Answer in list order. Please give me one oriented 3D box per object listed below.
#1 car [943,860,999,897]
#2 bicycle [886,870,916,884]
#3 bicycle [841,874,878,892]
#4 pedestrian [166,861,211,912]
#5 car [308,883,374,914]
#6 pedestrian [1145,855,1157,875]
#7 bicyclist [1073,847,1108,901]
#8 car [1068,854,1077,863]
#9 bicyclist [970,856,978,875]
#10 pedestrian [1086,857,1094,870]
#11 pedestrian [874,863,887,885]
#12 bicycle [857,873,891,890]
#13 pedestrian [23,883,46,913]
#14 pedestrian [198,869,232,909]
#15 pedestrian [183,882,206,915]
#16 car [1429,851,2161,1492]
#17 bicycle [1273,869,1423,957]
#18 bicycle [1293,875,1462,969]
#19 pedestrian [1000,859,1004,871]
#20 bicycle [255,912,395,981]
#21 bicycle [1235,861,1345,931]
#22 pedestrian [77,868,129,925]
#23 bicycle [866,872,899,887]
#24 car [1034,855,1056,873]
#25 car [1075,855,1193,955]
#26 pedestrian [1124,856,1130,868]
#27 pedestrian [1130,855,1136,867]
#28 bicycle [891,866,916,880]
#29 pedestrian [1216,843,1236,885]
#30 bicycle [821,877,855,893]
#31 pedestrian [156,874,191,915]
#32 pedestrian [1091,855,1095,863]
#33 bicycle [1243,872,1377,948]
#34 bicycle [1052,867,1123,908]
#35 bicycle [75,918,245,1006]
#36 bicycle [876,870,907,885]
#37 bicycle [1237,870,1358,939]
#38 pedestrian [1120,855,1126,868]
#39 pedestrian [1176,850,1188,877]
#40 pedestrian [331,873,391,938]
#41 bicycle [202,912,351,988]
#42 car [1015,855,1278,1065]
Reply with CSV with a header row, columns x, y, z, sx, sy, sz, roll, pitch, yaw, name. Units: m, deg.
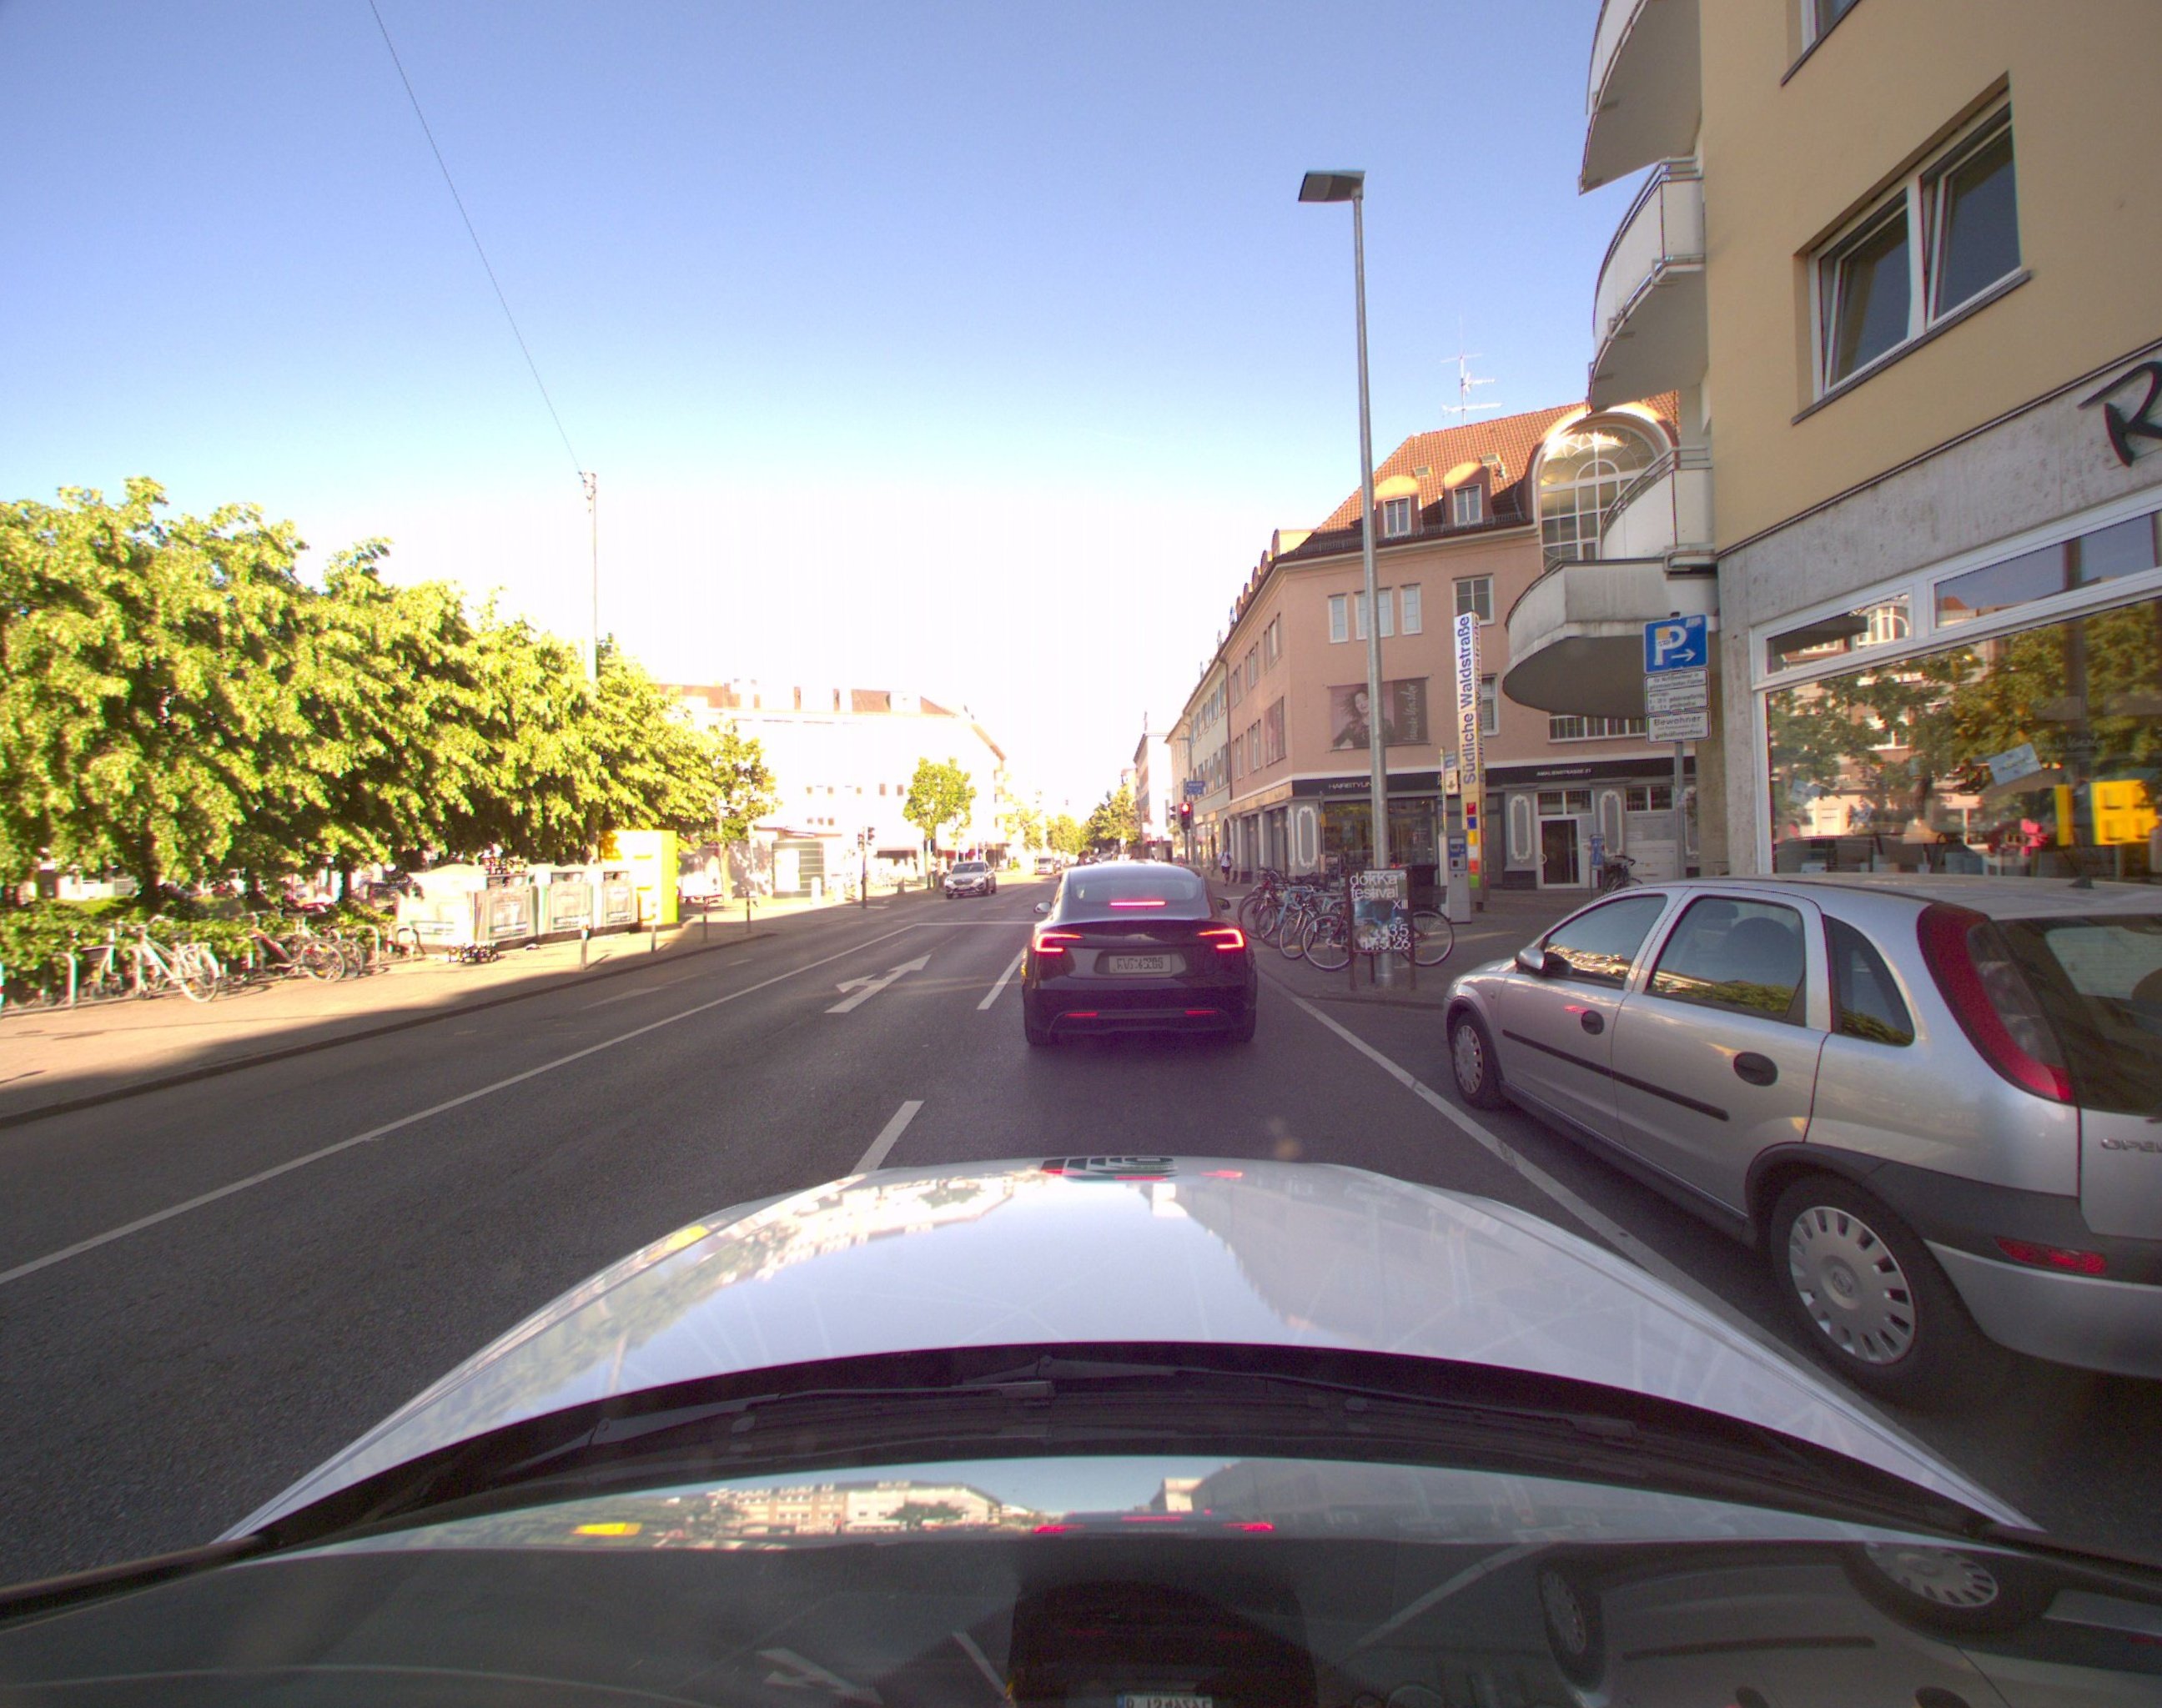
x,y,z,sx,sy,sz,roll,pitch,yaw,name
-4.862,1.044,36.397,1.782,1.460,3.759,-4,-1,2,car
-12.190,1.553,55.200,1.857,0.934,0.606,-1,0,0,bicycle
-12.401,1.622,45.660,1.857,0.934,0.606,-1,0,0,bicycle
-36.271,1.306,33.092,0.890,2.013,0.893,-1,0,15,pedestrian
-36.141,2.137,39.761,3.526,1.386,1.703,-1,0,36,car
5.921,0.925,69.234,0.756,1.631,0.951,0,-1,-16,pedestrian
0.280,0.564,23.178,0.886,1.482,0.703,-1,-1,6,bicyclist
-1.933,1.131,187.462,1.986,2.013,4.001,-1,0,1,car
-8.711,0.930,66.462,0.525,1.503,0.473,0,-1,-22,bicyclist
1.135,1.293,106.265,0.719,1.695,0.843,-1,0,-26,pedestrian
-18.674,1.854,75.827,1.060,2.014,1.049,0,-1,-18,pedestrian
-12.138,1.615,47.780,1.857,0.934,0.606,0,-1,0,bicycle
-77.932,3.275,60.660,0.891,2.171,0.882,-1,-1,26,pedestrian
-37.442,1.502,35.202,0.754,1.698,0.793,-1,0,25,pedestrian
-48.866,2.445,44.898,0.842,1.717,0.761,-2,-1,35,pedestrian
2.960,0.705,3.516,1.540,1.390,3.479,-1,-1,3,car
3.648,0.803,11.205,1.864,1.087,0.415,-3,-1,5,bicycle
3.612,0.835,10.012,1.862,1.038,0.354,-3,-1,8,bicycle
-9.537,1.285,98.583,0.459,1.460,0.517,-1,0,-3,pedestrian
-11.324,1.372,12.208,1.888,0.955,0.518,-1,-1,11,bicycle
3.774,0.757,14.795,1.818,1.169,0.507,-3,-1,7,bicycle
-34.994,1.509,29.146,0.890,2.013,0.893,-1,0,15,pedestrian
-12.263,1.562,50.259,1.857,0.934,0.606,0,-1,0,bicycle
-3.402,0.945,78.092,1.780,1.646,4.404,-1,0,2,car
0.791,0.747,13.851,1.712,1.425,3.757,-1,0,0,car
5.403,0.947,95.143,0.524,1.422,0.475,0,-1,-28,pedestrian
6.119,0.859,95.813,0.524,1.422,0.475,0,-1,-28,pedestrian
-17.106,1.819,78.524,2.373,1.296,0.509,0,-1,-25,bicycle
6.353,0.437,35.782,0.747,1.765,0.838,-2,-1,6,pedestrian
-12.843,1.633,43.086,1.640,0.792,0.606,0,-1,-3,bicycle
-45.242,2.000,40.614,0.889,2.013,0.894,-2,0,22,pedestrian
3.099,1.312,207.328,0.927,2.014,0.939,0,-1,1,pedestrian
3.489,0.849,12.501,1.864,1.038,0.534,-3,-1,5,bicycle
0.206,0.948,23.183,1.924,1.118,0.710,-1,-1,6,bicycle
-11.626,1.340,10.284,1.919,1.015,0.518,-1,-1,12,bicycle
-12.270,1.534,52.752,1.857,0.934,0.606,-1,0,0,bicycle
3.611,0.836,13.675,1.863,1.038,0.548,-3,-1,7,bicycle
4.991,0.886,95.854,0.474,1.417,0.517,0,-1,-29,pedestrian
6.630,0.610,53.526,0.704,1.742,0.540,-1,0,1,pedestrian
-23.063,1.635,26.114,1.051,2.014,0.971,0,-1,-10,pedestrian
-11.508,1.352,11.656,1.913,1.003,0.518,-1,-1,11,bicycle
0.524,0.759,7.720,1.816,1.442,4.001,-1,-1,2,car
